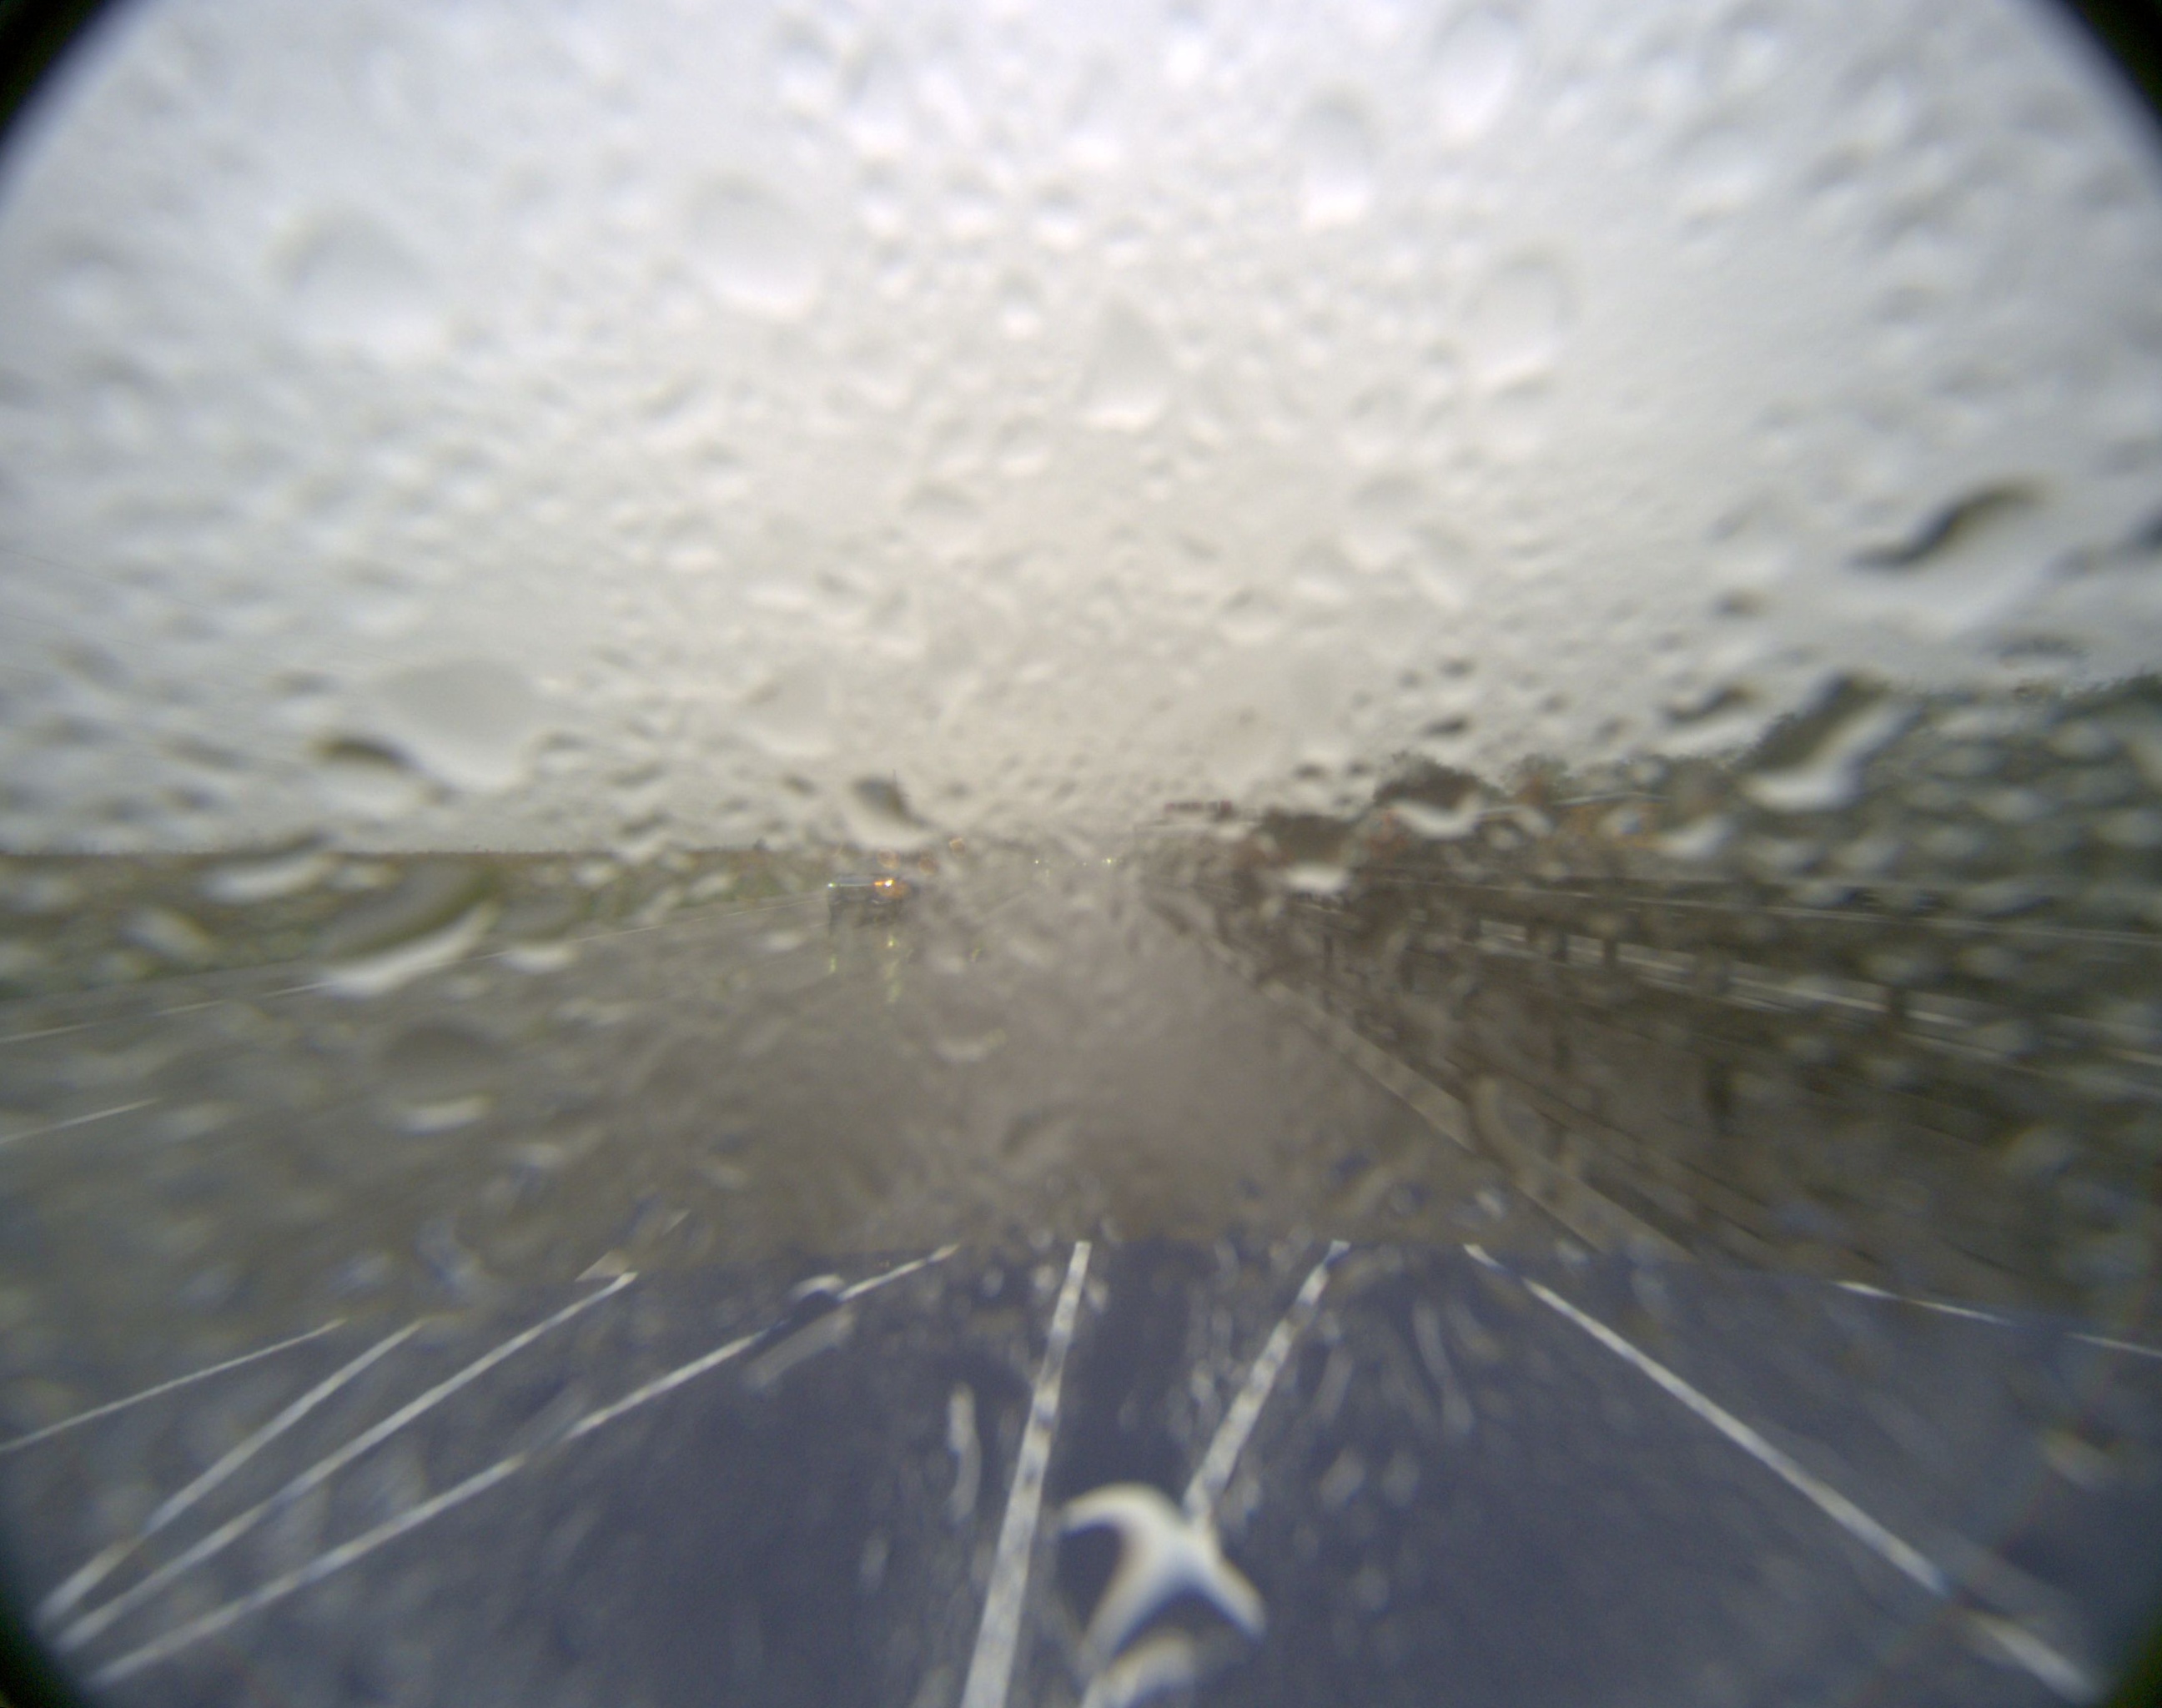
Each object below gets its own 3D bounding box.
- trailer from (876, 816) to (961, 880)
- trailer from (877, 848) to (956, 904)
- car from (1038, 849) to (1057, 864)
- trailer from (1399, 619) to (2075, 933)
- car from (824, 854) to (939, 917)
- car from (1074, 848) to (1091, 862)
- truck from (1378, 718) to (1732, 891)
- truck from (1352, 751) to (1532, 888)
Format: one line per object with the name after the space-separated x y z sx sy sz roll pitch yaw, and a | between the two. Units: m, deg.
-5.487 -0.167 26.152 1.998 2.002 4.000 -1 0 0 | trailer
-5.661 0.713 26.518 1.984 1.774 3.189 -1 1 1 | trailer
-4.630 0.416 106.012 1.998 2.001 4.002 -2 -1 6 | car
12.153 -1.086 17.863 3.540 4.276 14.679 -1 0 2 | trailer
-5.697 0.822 22.416 1.998 1.609 4.992 -1 0 1 | car
0.230 0.184 113.798 1.997 2.002 4.002 -1 0 6 | car
17.468 -1.392 31.417 3.726 5.014 18.231 -1 0 2 | truck
12.383 -1.095 26.844 3.531 4.217 6.219 -1 0 2 | truck
